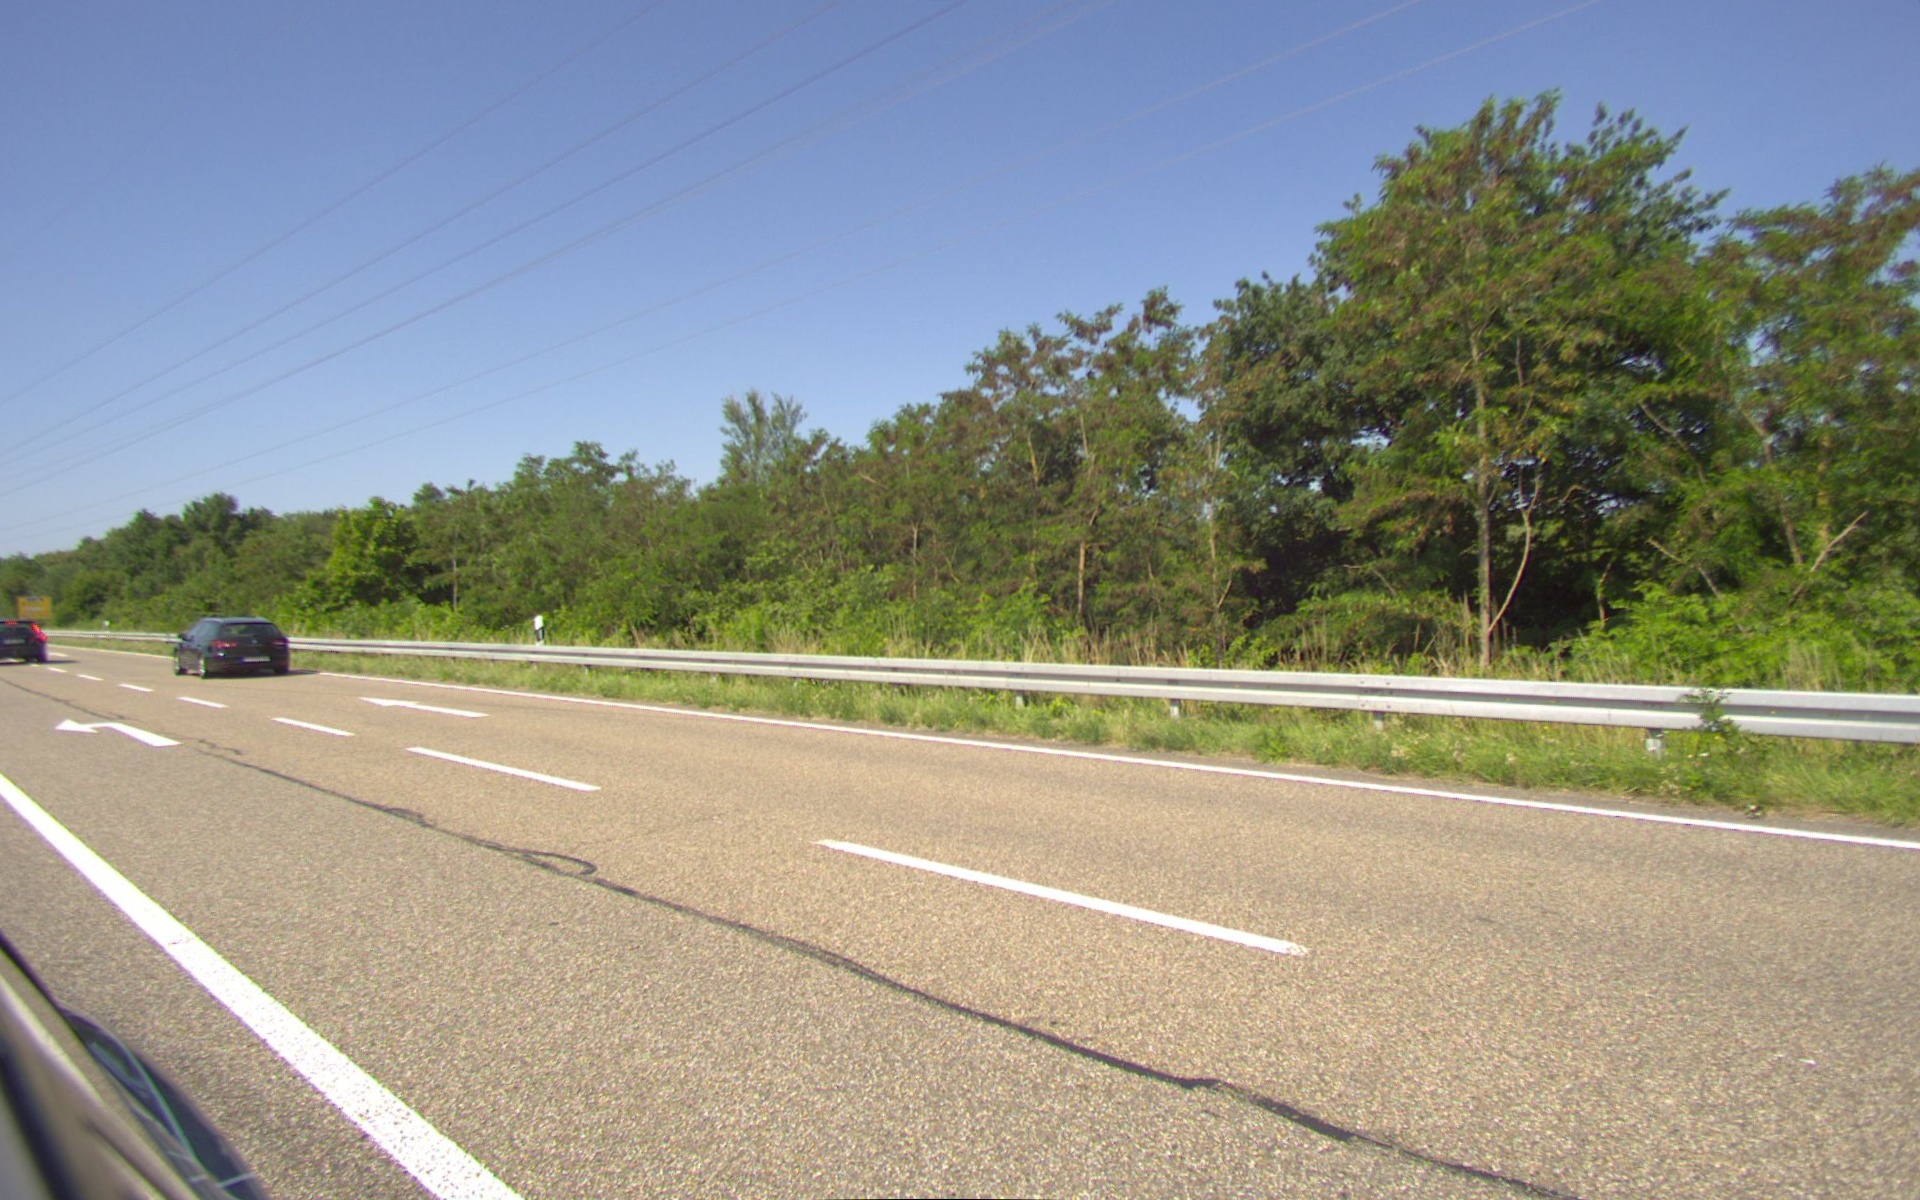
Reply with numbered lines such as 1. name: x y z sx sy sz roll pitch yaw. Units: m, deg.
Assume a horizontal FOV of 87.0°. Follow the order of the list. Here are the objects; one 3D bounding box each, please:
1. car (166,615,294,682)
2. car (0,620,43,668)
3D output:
1. car: -17.943 1.138 24.819 4.212 1.453 1.642 -1 0 41
2. car: -32.290 1.456 33.929 4.419 1.502 1.710 -1 0 40
